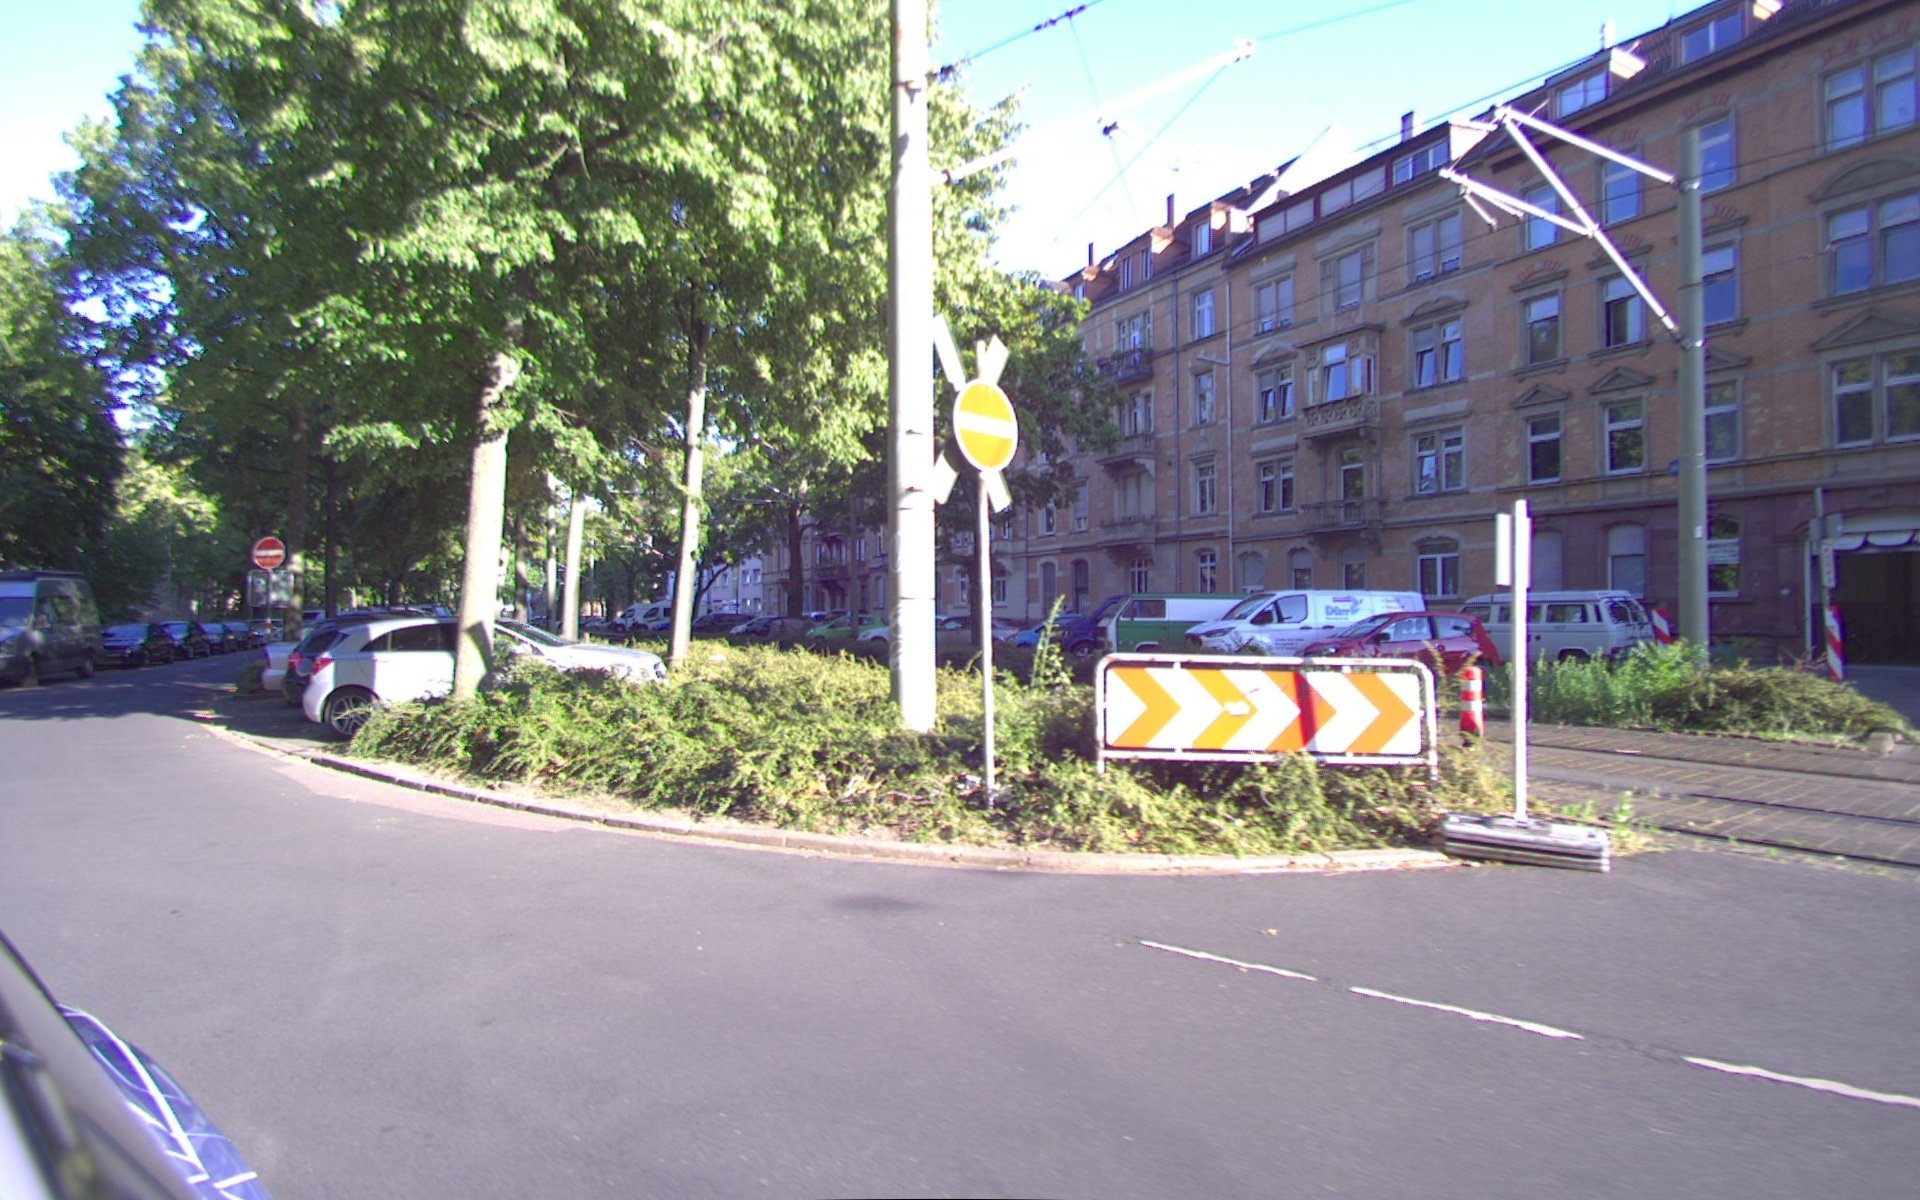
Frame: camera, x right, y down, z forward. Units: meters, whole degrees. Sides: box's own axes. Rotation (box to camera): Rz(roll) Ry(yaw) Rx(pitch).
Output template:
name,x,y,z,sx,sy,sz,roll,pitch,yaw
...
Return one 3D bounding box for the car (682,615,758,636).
name,x,y,z,sx,sy,sz,roll,pitch,yaw
car,-13.981,1.478,59.053,4.145,1.176,1.499,0,-1,0

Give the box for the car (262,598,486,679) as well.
name,x,y,z,sx,sy,sz,roll,pitch,yaw
car,-12.852,0.814,22.371,3.830,1.505,1.832,-3,1,0

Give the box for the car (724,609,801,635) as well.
name,x,y,z,sx,sy,sz,roll,pitch,yaw
car,-10.342,1.137,53.193,3.937,1.327,1.596,0,-1,-7

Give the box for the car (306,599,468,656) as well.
name,x,y,z,sx,sy,sz,roll,pitch,yaw
car,-21.486,1.005,38.094,4.933,1.794,1.987,-3,1,1

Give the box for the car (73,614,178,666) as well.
name,x,y,z,sx,sy,sz,roll,pitch,yaw
car,-27.051,1.238,32.944,1.657,1.537,4.504,0,-1,-26

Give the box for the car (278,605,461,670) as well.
name,x,y,z,sx,sy,sz,roll,pitch,yaw
car,-15.879,0.982,27.364,3.816,1.449,1.833,-3,1,-2

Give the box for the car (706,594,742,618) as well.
name,x,y,z,sx,sy,sz,roll,pitch,yaw
car,-20.413,0.575,87.472,1.966,2.029,4.012,0,-1,-29

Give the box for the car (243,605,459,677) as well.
name,x,y,z,sx,sy,sz,roll,pitch,yaw
car,-14.875,0.971,24.896,4.139,1.449,1.833,-3,1,-2

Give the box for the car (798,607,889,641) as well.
name,x,y,z,sx,sy,sz,roll,pitch,yaw
car,-4.865,1.003,42.525,3.685,1.391,1.708,0,-1,-1

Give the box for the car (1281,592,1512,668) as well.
name,x,y,z,sx,sy,sz,roll,pitch,yaw
car,8.162,0.549,19.106,3.578,1.339,1.718,0,-1,-4

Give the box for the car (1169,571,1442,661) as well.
name,x,y,z,sx,sy,sz,roll,pitch,yaw
car,7.168,0.319,21.321,4.981,1.778,2.088,0,-1,-6

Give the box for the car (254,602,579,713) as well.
name,x,y,z,sx,sy,sz,roll,pitch,yaw
car,-8.003,0.798,15.293,3.973,1.416,1.779,-2,0,-12

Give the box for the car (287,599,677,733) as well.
name,x,y,z,sx,sy,sz,roll,pitch,yaw
car,-5.943,0.769,13.099,4.224,1.440,1.778,-2,0,-10

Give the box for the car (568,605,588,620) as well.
name,x,y,z,sx,sy,sz,roll,pitch,yaw
car,-53.795,1.729,142.490,1.966,2.029,4.011,0,-1,-32

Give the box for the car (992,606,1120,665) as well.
name,x,y,z,sx,sy,sz,roll,pitch,yaw
car,2.749,1.012,29.501,3.602,1.652,1.660,0,-1,2

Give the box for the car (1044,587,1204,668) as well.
name,x,y,z,sx,sy,sz,roll,pitch,yaw
car,4.197,0.719,26.502,3.948,2.029,1.997,0,-1,4

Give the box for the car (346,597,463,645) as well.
name,x,y,z,sx,sy,sz,roll,pitch,yaw
car,-23.949,0.902,43.671,4.115,1.794,1.878,-3,1,10

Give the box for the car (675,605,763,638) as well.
name,x,y,z,sx,sy,sz,roll,pitch,yaw
car,-11.989,1.084,50.536,3.942,1.590,2.001,0,-1,-2

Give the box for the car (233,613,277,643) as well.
name,x,y,z,sx,sy,sz,roll,pitch,yaw
car,-37.267,1.457,53.564,1.657,1.465,4.088,0,-1,-32

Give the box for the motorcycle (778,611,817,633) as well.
name,x,y,z,sx,sy,sz,roll,pitch,yaw
motorcycle,-7.210,0.983,45.073,1.700,0.962,1.022,0,-1,-7

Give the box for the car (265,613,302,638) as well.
name,x,y,z,sx,sy,sz,roll,pitch,yaw
car,-41.860,1.572,62.682,1.568,1.465,3.566,0,-1,-28

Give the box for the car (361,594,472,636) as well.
name,x,y,z,sx,sy,sz,roll,pitch,yaw
car,-32.162,0.871,59.946,5.441,2.153,2.080,-3,1,2

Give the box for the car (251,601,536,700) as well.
name,x,y,z,sx,sy,sz,roll,pitch,yaw
car,-9.701,0.821,17.646,3.920,1.375,1.779,-3,1,-11

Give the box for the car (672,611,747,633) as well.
name,x,y,z,sx,sy,sz,roll,pitch,yaw
car,-15.211,1.317,61.584,4.131,1.320,1.635,0,-1,1

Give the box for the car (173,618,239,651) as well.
name,x,y,z,sx,sy,sz,roll,pitch,yaw
car,-32.146,1.424,43.243,1.657,1.293,4.301,0,-1,-28

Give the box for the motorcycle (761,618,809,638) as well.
name,x,y,z,sx,sy,sz,roll,pitch,yaw
motorcycle,-8.025,1.268,46.478,1.955,0.895,1.017,0,-1,9

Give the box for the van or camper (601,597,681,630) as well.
name,x,y,z,sx,sy,sz,roll,pitch,yaw
van or camper,-24.553,1.022,78.007,5.593,2.487,2.001,0,-1,-3

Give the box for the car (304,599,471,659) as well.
name,x,y,z,sx,sy,sz,roll,pitch,yaw
car,-18.616,0.919,33.043,4.298,1.638,1.941,-3,1,1

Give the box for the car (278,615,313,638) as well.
name,x,y,z,sx,sy,sz,roll,pitch,yaw
car,-44.264,1.752,67.497,1.649,1.465,3.961,0,-1,-29

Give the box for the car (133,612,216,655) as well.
name,x,y,z,sx,sy,sz,roll,pitch,yaw
car,-29.728,1.229,38.432,1.657,1.537,4.301,0,-1,-26

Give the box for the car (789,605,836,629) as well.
name,x,y,z,sx,sy,sz,roll,pitch,yaw
car,-10.177,1.169,69.502,1.825,1.542,4.036,2,-2,-29

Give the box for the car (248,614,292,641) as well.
name,x,y,z,sx,sy,sz,roll,pitch,yaw
car,-39.405,1.525,57.857,1.657,1.465,4.089,0,-1,-28

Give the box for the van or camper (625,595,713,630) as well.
name,x,y,z,sx,sy,sz,roll,pitch,yaw
van or camper,-20.206,0.897,70.383,5.473,2.389,2.307,0,-1,0

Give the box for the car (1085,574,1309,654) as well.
name,x,y,z,sx,sy,sz,roll,pitch,yaw
car,5.490,0.322,23.924,4.769,1.778,2.085,0,-1,0

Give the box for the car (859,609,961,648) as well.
name,x,y,z,sx,sy,sz,roll,pitch,yaw
car,-1.864,1.030,37.560,3.684,1.391,1.728,0,-1,-2

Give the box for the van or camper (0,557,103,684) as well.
name,x,y,z,sx,sy,sz,roll,pitch,yaw
van or camper,-23.070,0.496,24.610,2.054,2.783,5.864,0,-1,-26

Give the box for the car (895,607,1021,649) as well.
name,x,y,z,sx,sy,sz,roll,pitch,yaw
car,-0.040,0.968,34.862,4.233,1.391,1.592,0,-1,4

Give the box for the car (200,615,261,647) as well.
name,x,y,z,sx,sy,sz,roll,pitch,yaw
car,-34.666,1.443,48.213,1.657,1.435,4.674,0,-1,-27

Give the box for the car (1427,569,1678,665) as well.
name,x,y,z,sx,sy,sz,roll,pitch,yaw
car,14.406,0.437,24.971,1.826,2.079,5.015,-3,0,-30

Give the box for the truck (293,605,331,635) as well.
name,x,y,z,sx,sy,sz,roll,pitch,yaw
truck,-53.437,1.625,83.551,2.264,2.404,6.955,0,-1,-30

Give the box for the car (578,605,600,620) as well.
name,x,y,z,sx,sy,sz,roll,pitch,yaw
car,-50.318,1.755,137.303,1.966,2.029,4.011,0,-1,-32
